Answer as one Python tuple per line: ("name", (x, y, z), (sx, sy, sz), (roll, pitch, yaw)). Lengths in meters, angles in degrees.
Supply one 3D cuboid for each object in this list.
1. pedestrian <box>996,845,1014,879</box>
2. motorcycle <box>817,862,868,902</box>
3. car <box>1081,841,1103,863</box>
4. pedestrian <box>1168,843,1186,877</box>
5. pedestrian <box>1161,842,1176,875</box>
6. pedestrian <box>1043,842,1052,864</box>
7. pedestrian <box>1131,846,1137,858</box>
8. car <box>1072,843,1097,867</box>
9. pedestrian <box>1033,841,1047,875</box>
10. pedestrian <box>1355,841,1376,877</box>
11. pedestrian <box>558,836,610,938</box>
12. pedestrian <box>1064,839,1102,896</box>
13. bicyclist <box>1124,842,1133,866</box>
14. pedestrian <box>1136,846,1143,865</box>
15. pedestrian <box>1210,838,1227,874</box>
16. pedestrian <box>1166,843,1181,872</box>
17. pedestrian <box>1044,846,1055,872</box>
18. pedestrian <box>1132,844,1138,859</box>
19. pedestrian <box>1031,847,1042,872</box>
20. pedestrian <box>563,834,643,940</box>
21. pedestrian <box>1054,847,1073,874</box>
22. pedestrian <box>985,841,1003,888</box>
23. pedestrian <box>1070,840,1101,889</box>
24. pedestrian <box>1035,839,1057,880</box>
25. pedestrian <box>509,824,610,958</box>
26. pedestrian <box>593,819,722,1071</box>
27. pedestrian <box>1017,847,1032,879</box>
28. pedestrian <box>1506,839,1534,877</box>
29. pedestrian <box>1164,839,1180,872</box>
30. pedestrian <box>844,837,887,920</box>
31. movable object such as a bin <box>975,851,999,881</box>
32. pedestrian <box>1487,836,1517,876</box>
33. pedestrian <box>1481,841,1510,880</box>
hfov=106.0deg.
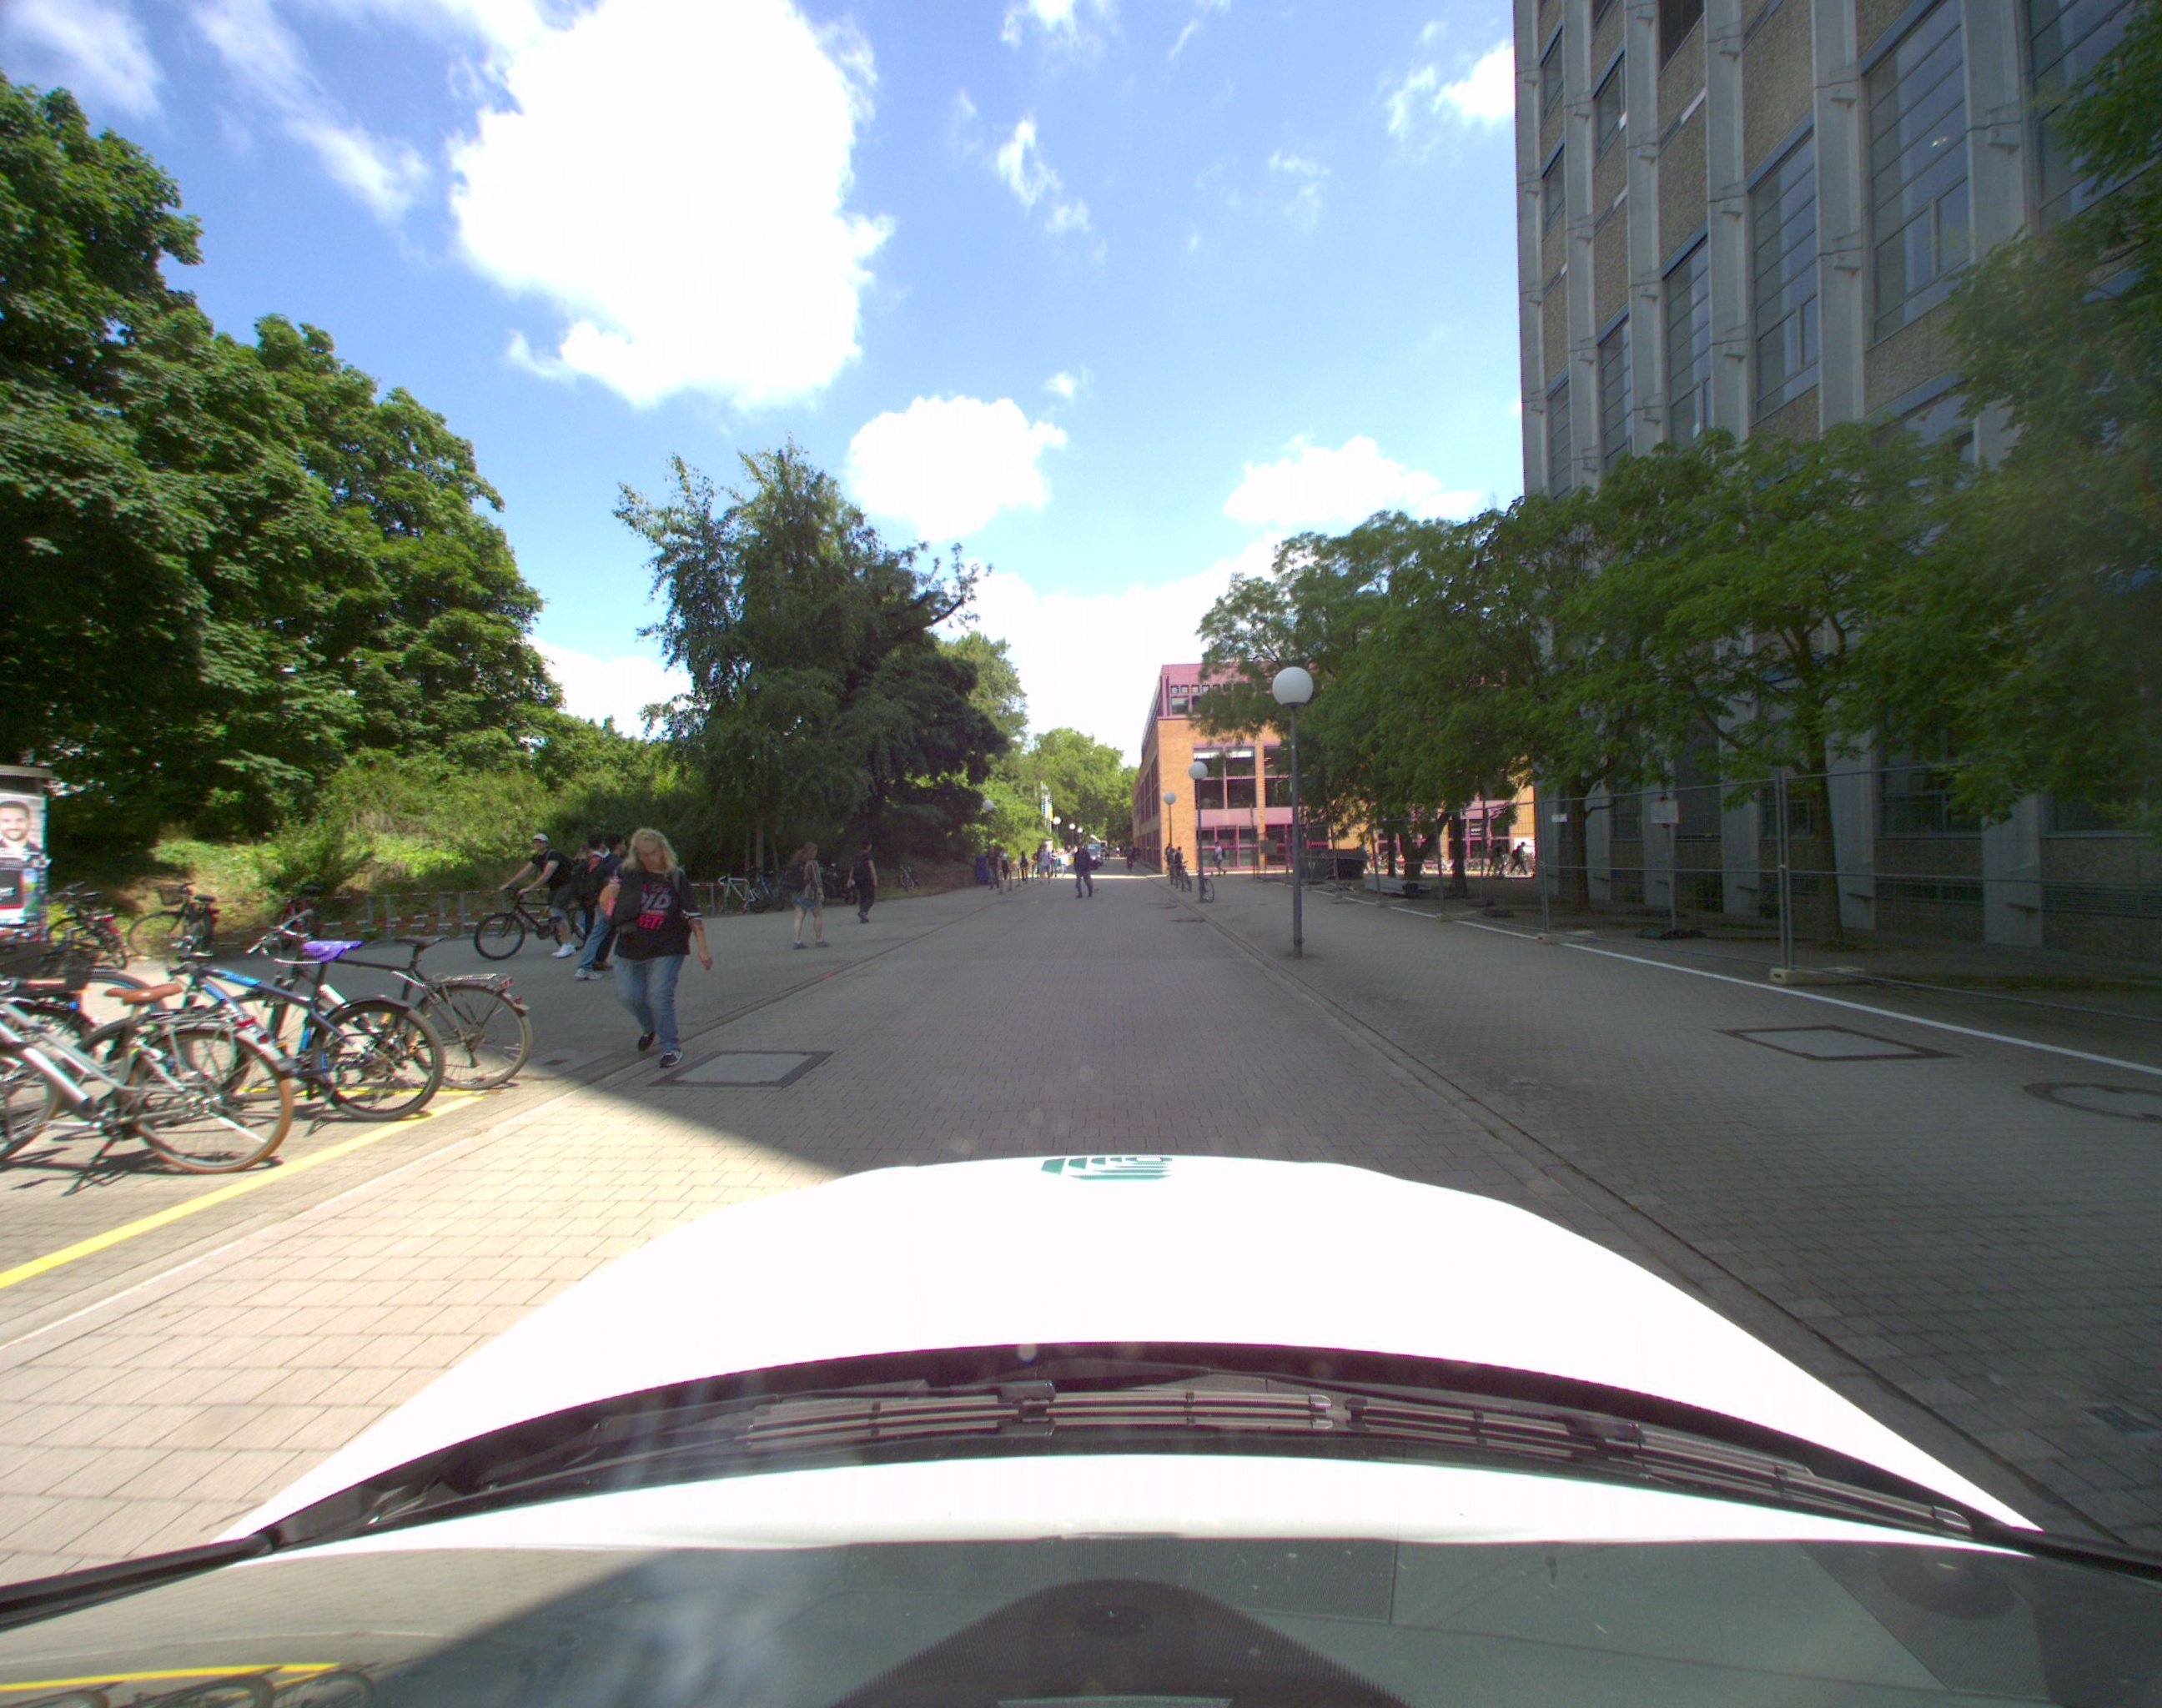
("pedestrian", (-3.896, 0.415, 41.833), (0.685, 1.728, 0.995), (-1, 0, -20))
("motorcycle", (-6.737, 0.774, 22.962), (2.001, 1.047, 0.477), (1, 1, 44))
("car", (1.065, -0.180, 75.960), (1.876, 1.974, 5.217), (-1, 1, 2))
("pedestrian", (4.686, 0.288, 39.840), (0.847, 1.651, 0.590), (-1, -1, 9))
("pedestrian", (4.651, 0.238, 43.078), (0.692, 1.672, 0.590), (-2, -1, 9))
("pedestrian", (-2.905, -0.076, 71.007), (0.680, 1.844, 0.783), (-1, -1, 2))
("pedestrian", (7.200, -0.277, 109.884), (0.722, 1.672, 0.749), (-2, -1, 3))
("car", (0.322, 0.085, 63.673), (1.783, 1.761, 4.484), (-2, 1, 2))
("pedestrian", (-2.249, 0.197, 44.576), (0.680, 1.844, 0.783), (-1, -1, 2))
("pedestrian", (14.010, 0.261, 40.169), (0.894, 1.728, 0.688), (-2, -2, 18))
("pedestrian", (-8.777, 0.552, 14.370), (0.689, 1.724, 0.723), (-2, 1, -35))
("pedestrian", (0.080, 0.448, 27.347), (0.877, 1.857, 1.038), (0, 0, 28))
("bicyclist", (3.327, -0.002, 57.144), (0.585, 1.716, 0.665), (-1, 0, -2))
("pedestrian", (5.293, 0.136, 74.047), (0.584, 1.672, 0.699), (-2, -1, 3))
("pedestrian", (7.095, 0.119, 41.946), (0.762, 1.794, 0.590), (-2, -1, 9))
("pedestrian", (5.136, 0.191, 45.218), (0.778, 1.620, 0.684), (-1, -1, -1))
("pedestrian", (-2.012, 0.317, 52.225), (0.681, 1.620, 0.913), (0, -1, -3))
("pedestrian", (5.827, -0.253, 88.163), (0.584, 1.672, 0.818), (-2, -1, 3))
("pedestrian", (-2.874, 0.352, 52.162), (0.681, 1.620, 0.978), (0, -1, -3))
("pedestrian", (-8.119, 0.531, 13.857), (0.668, 1.724, 0.943), (-1, 1, 38))
("pedestrian", (-0.983, 0.360, 46.468), (0.746, 1.542, 0.879), (1, -1, -35))
("pedestrian", (-3.581, 0.423, 33.545), (0.681, 1.873, 1.120), (0, -1, -3))
("pedestrian", (0.158, 0.383, 30.789), (0.786, 1.845, 1.110), (0, 0, -22))
("pedestrian", (-1.632, 0.248, 38.320), (0.718, 1.881, 1.087), (-1, -1, 16))
("pedestrian", (-7.540, 0.505, 11.805), (0.606, 1.835, 1.056), (-1, 0, 31))
("pedestrian", (-3.083, 0.605, 6.006), (0.771, 1.680, 0.900), (1, 0, -25))
("pedestrian", (-2.879, 0.442, 41.686), (0.570, 1.611, 0.913), (0, -1, -18))
("pedestrian", (20.832, 0.191, 38.655), (0.900, 1.728, 0.684), (-1, -2, -3))
("pedestrian", (5.122, 0.071, 46.050), (0.823, 1.844, 0.684), (-1, -1, -1))
("pedestrian", (-4.587, 0.515, 17.381), (0.682, 1.724, 0.904), (0, 0, 0))
("movable object such as a bin", (-4.382, 0.560, 38.144), (0.704, 1.336, 1.243), (1, 0, 12))
("pedestrian", (18.777, 0.086, 36.335), (0.900, 1.728, 0.684), (-1, -2, -3))
("pedestrian", (18.865, 0.304, 37.036), (0.900, 1.728, 0.684), (-1, -2, -3))
